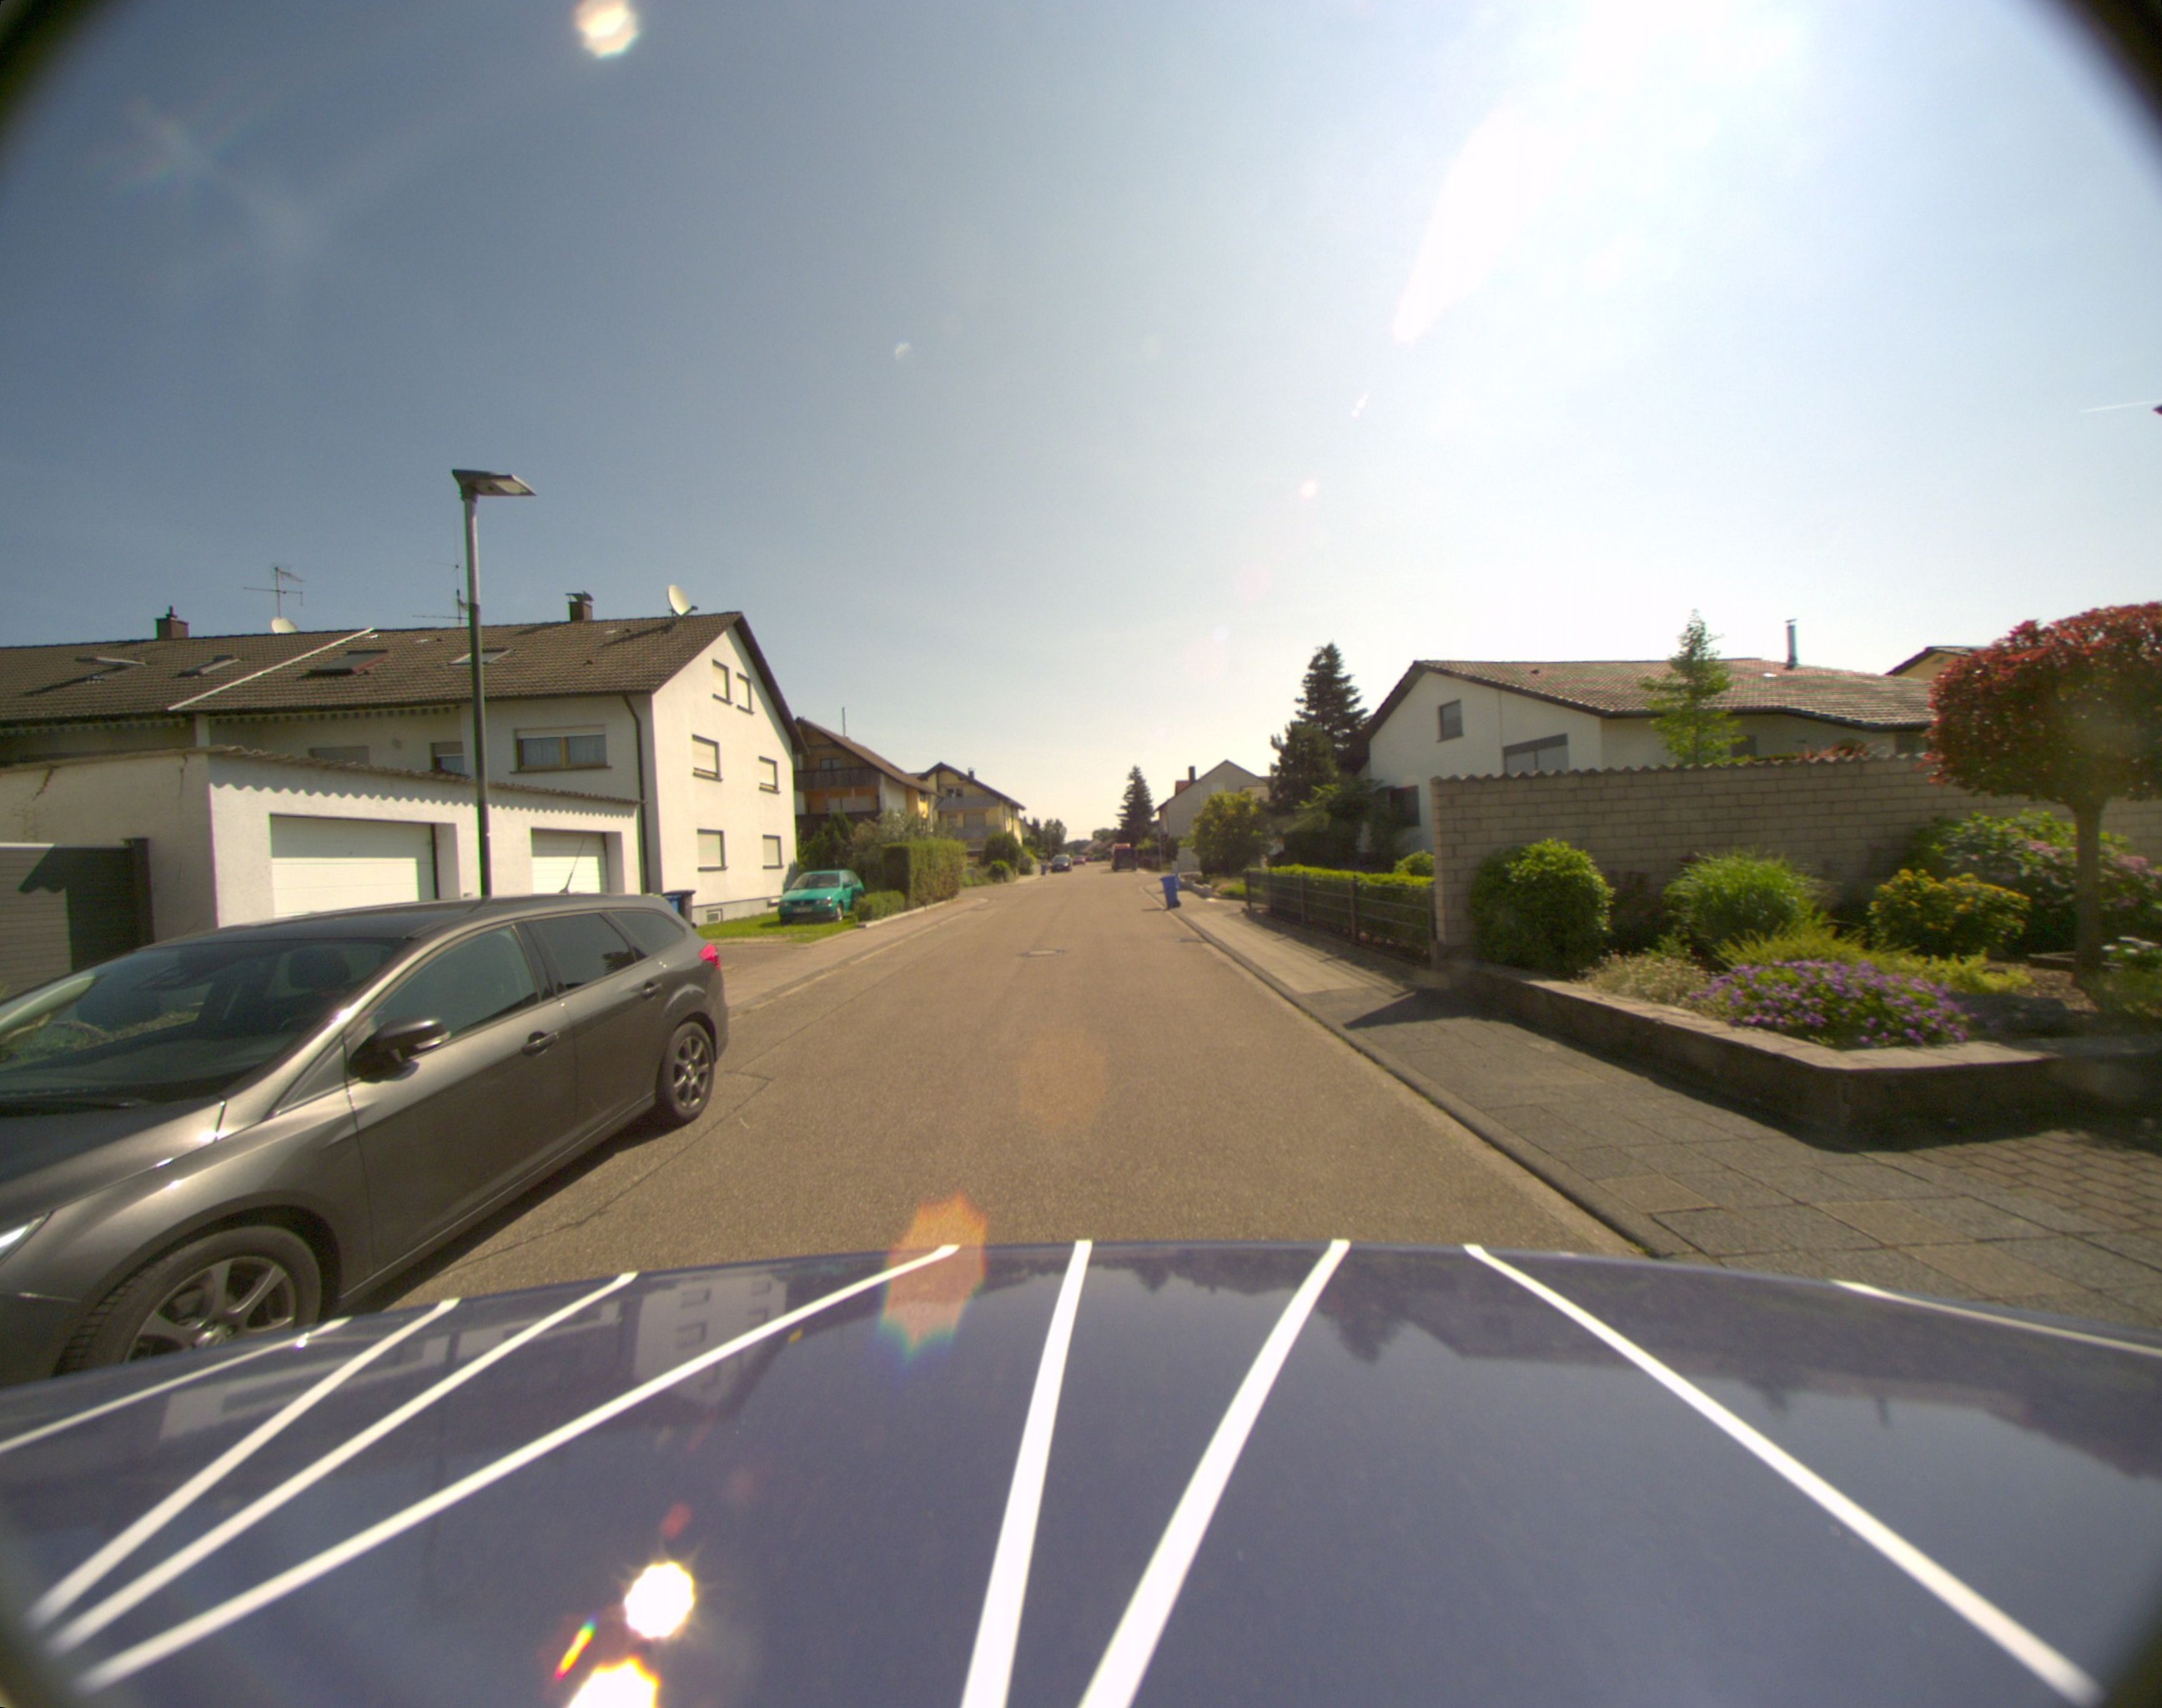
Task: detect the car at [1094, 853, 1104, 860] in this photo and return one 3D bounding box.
[{"bbox_3d":[3.985,0.466,167.476,1.710,1.332,3.999,-3,-1,-6],"label":"car"}]

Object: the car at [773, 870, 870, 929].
[{"bbox_3d":[-7.144,1.205,21.264,1.498,1.351,3.526,-3,0,-1],"label":"car"}]

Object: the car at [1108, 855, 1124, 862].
[{"bbox_3d":[8.090,0.978,176.531,3.413,1.521,1.637,-3,1,-5],"label":"car"}]

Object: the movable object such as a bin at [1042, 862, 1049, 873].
[{"bbox_3d":[-3.005,1.126,64.342,0.584,0.911,0.598,-4,1,0],"label":"movable object such as a bin"}]

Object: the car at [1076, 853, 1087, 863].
[{"bbox_3d":[0.065,0.625,115.923,1.517,1.398,3.677,-4,0,-1],"label":"car"}]

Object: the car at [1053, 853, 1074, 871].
[{"bbox_3d":[-1.663,0.784,73.660,1.632,1.616,4.001,-3,0,3],"label":"car"}]

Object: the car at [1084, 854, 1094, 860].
[{"bbox_3d":[1.872,0.725,179.513,1.710,1.332,3.999,-3,-1,-6],"label":"car"}]

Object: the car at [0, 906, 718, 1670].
[{"bbox_3d":[-3.269,1.127,3.070,1.646,1.470,4.000,-4,0,-1],"label":"car"}]

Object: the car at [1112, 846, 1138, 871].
[{"bbox_3d":[3.674,0.327,63.975,1.870,1.927,4.204,-3,0,1],"label":"car"}]

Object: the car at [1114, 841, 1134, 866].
[{"bbox_3d":[4.139,-0.046,73.410,1.555,2.310,4.204,-3,0,1],"label":"car"}]

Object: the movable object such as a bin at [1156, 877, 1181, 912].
[{"bbox_3d":[2.387,1.100,20.751,0.584,0.911,0.598,-4,1,1],"label":"movable object such as a bin"}]
